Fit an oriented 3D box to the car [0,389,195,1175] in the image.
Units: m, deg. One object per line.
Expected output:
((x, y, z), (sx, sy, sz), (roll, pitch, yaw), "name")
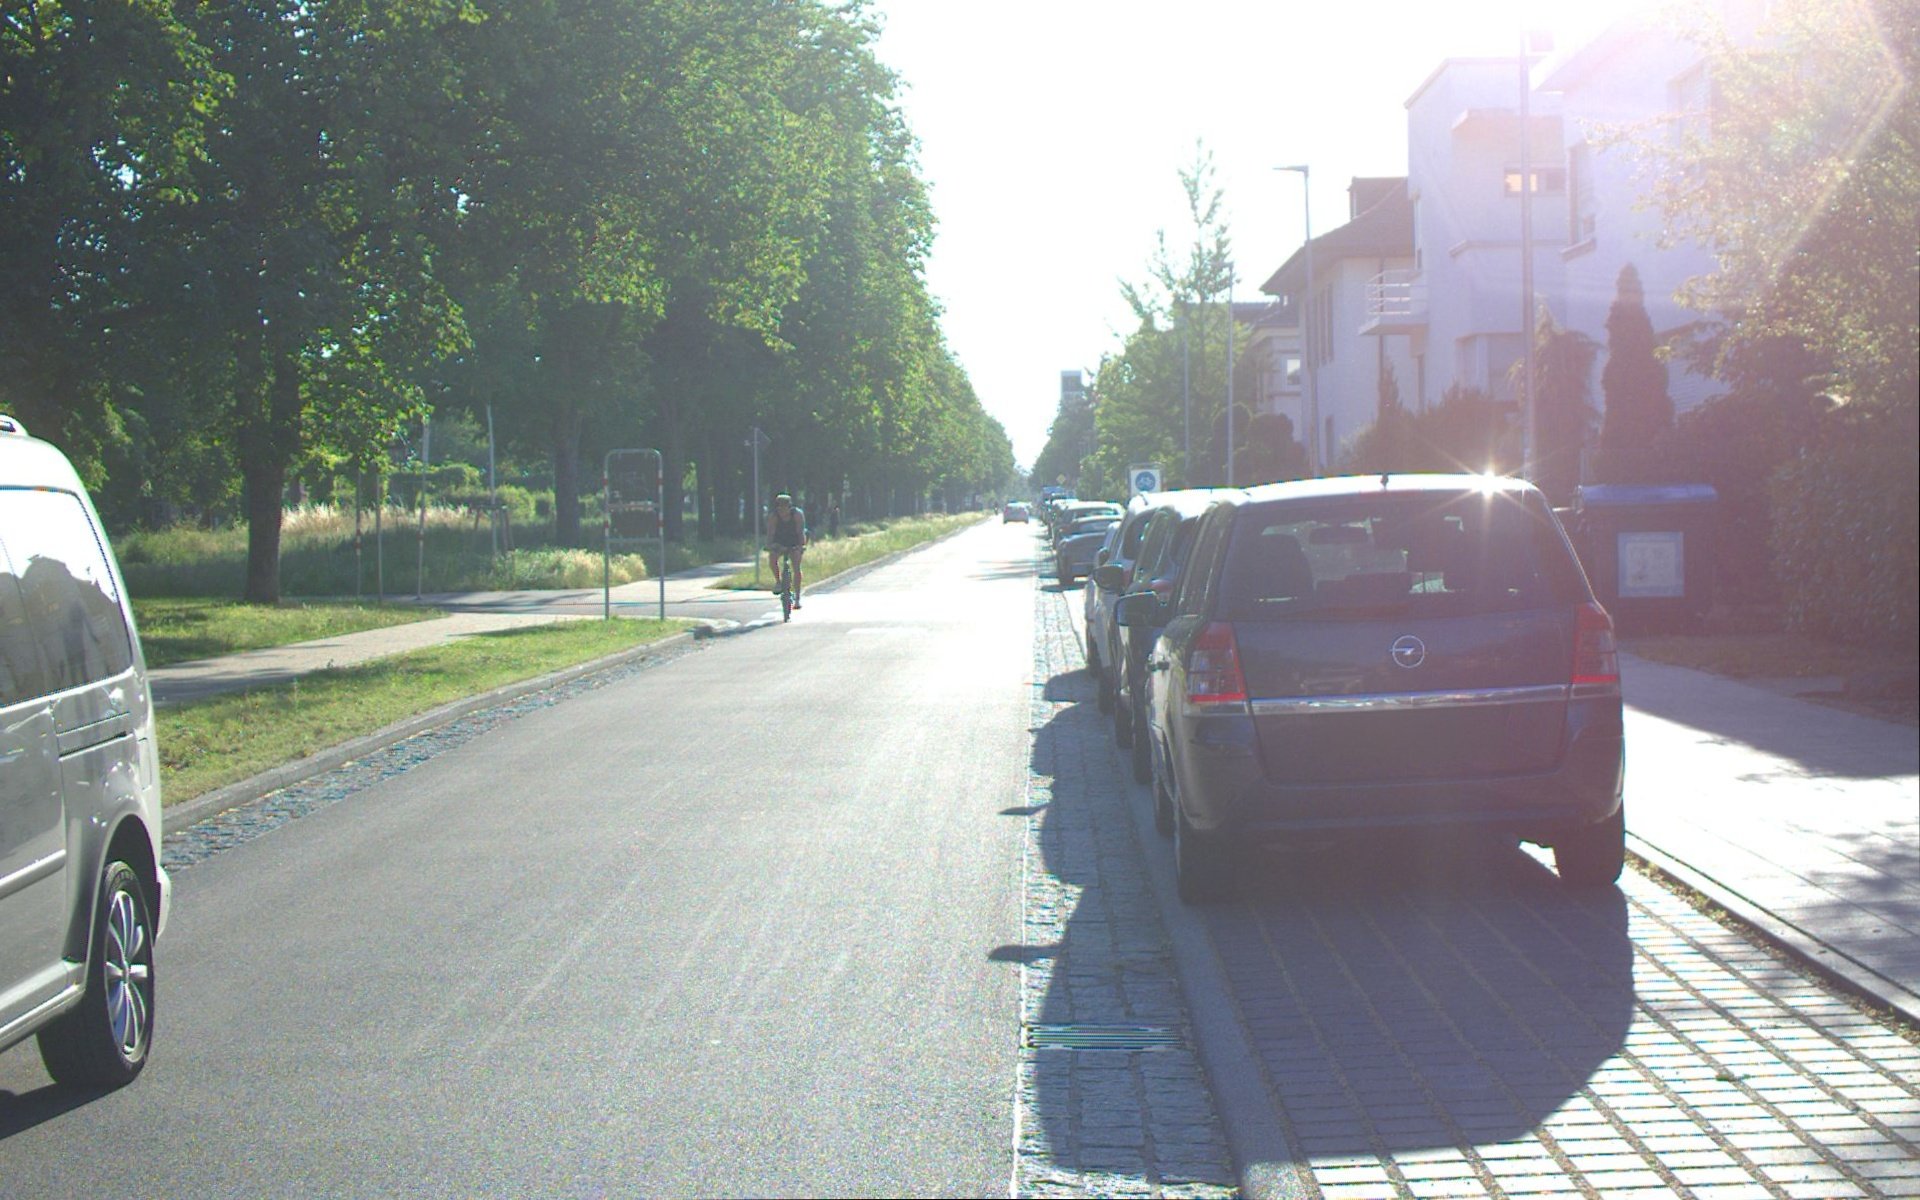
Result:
((-3.192, 0.459, 7.720), (1.844, 1.841, 4.573), (-2, 1, 0), "car")

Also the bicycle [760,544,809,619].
((-2.491, -0.276, 48.913), (0.556, 1.028, 1.915), (-1, 1, 1), "bicycle")

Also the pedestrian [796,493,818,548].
((-5.207, -2.706, 116.909), (0.624, 1.824, 0.886), (0, 2, 5), "pedestrian")

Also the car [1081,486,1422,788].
((1.625, 0.137, 20.400), (1.679, 1.550, 4.145), (-2, 2, 1), "car")

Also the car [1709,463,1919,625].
((9.543, -0.584, 35.419), (3.494, 1.636, 1.642), (0, 1, 9), "car")

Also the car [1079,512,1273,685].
((1.905, -0.067, 31.267), (1.564, 1.385, 4.374), (-2, 2, 2), "car")

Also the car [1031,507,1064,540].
((4.270, -3.731, 167.358), (1.498, 1.561, 3.266), (-1, 1, 2), "car")

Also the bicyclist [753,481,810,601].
((-2.541, -0.841, 48.957), (0.681, 1.667, 1.172), (-2, 1, 1), "bicyclist")

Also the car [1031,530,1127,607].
((2.362, -0.651, 68.240), (1.774, 1.284, 4.273), (-3, 2, 2), "car")

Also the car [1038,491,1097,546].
((3.130, -2.382, 99.826), (1.628, 1.499, 3.633), (-2, 2, 2), "car")

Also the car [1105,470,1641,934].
((1.586, 0.305, 14.541), (1.710, 1.605, 4.169), (-3, 2, 0), "car")

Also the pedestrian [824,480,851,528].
((-4.170, -3.263, 116.787), (0.783, 1.609, 0.952), (0, 2, 5), "pedestrian")

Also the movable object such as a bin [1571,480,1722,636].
((6.424, -0.402, 32.231), (1.237, 1.427, 1.123), (0, 1, 3), "movable object such as a bin")

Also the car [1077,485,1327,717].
((1.767, -0.051, 25.924), (1.679, 1.550, 4.130), (-2, 2, 2), "car")

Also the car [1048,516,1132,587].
((2.986, -1.150, 79.753), (1.744, 1.469, 3.922), (-4, 2, 0), "car")

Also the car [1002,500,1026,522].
((3.824, -6.321, 244.122), (1.652, 1.536, 3.267), (0, 1, 1), "car")

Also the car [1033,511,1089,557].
((3.389, -2.224, 115.871), (1.736, 1.444, 4.197), (-2, 1, 0), "car")
